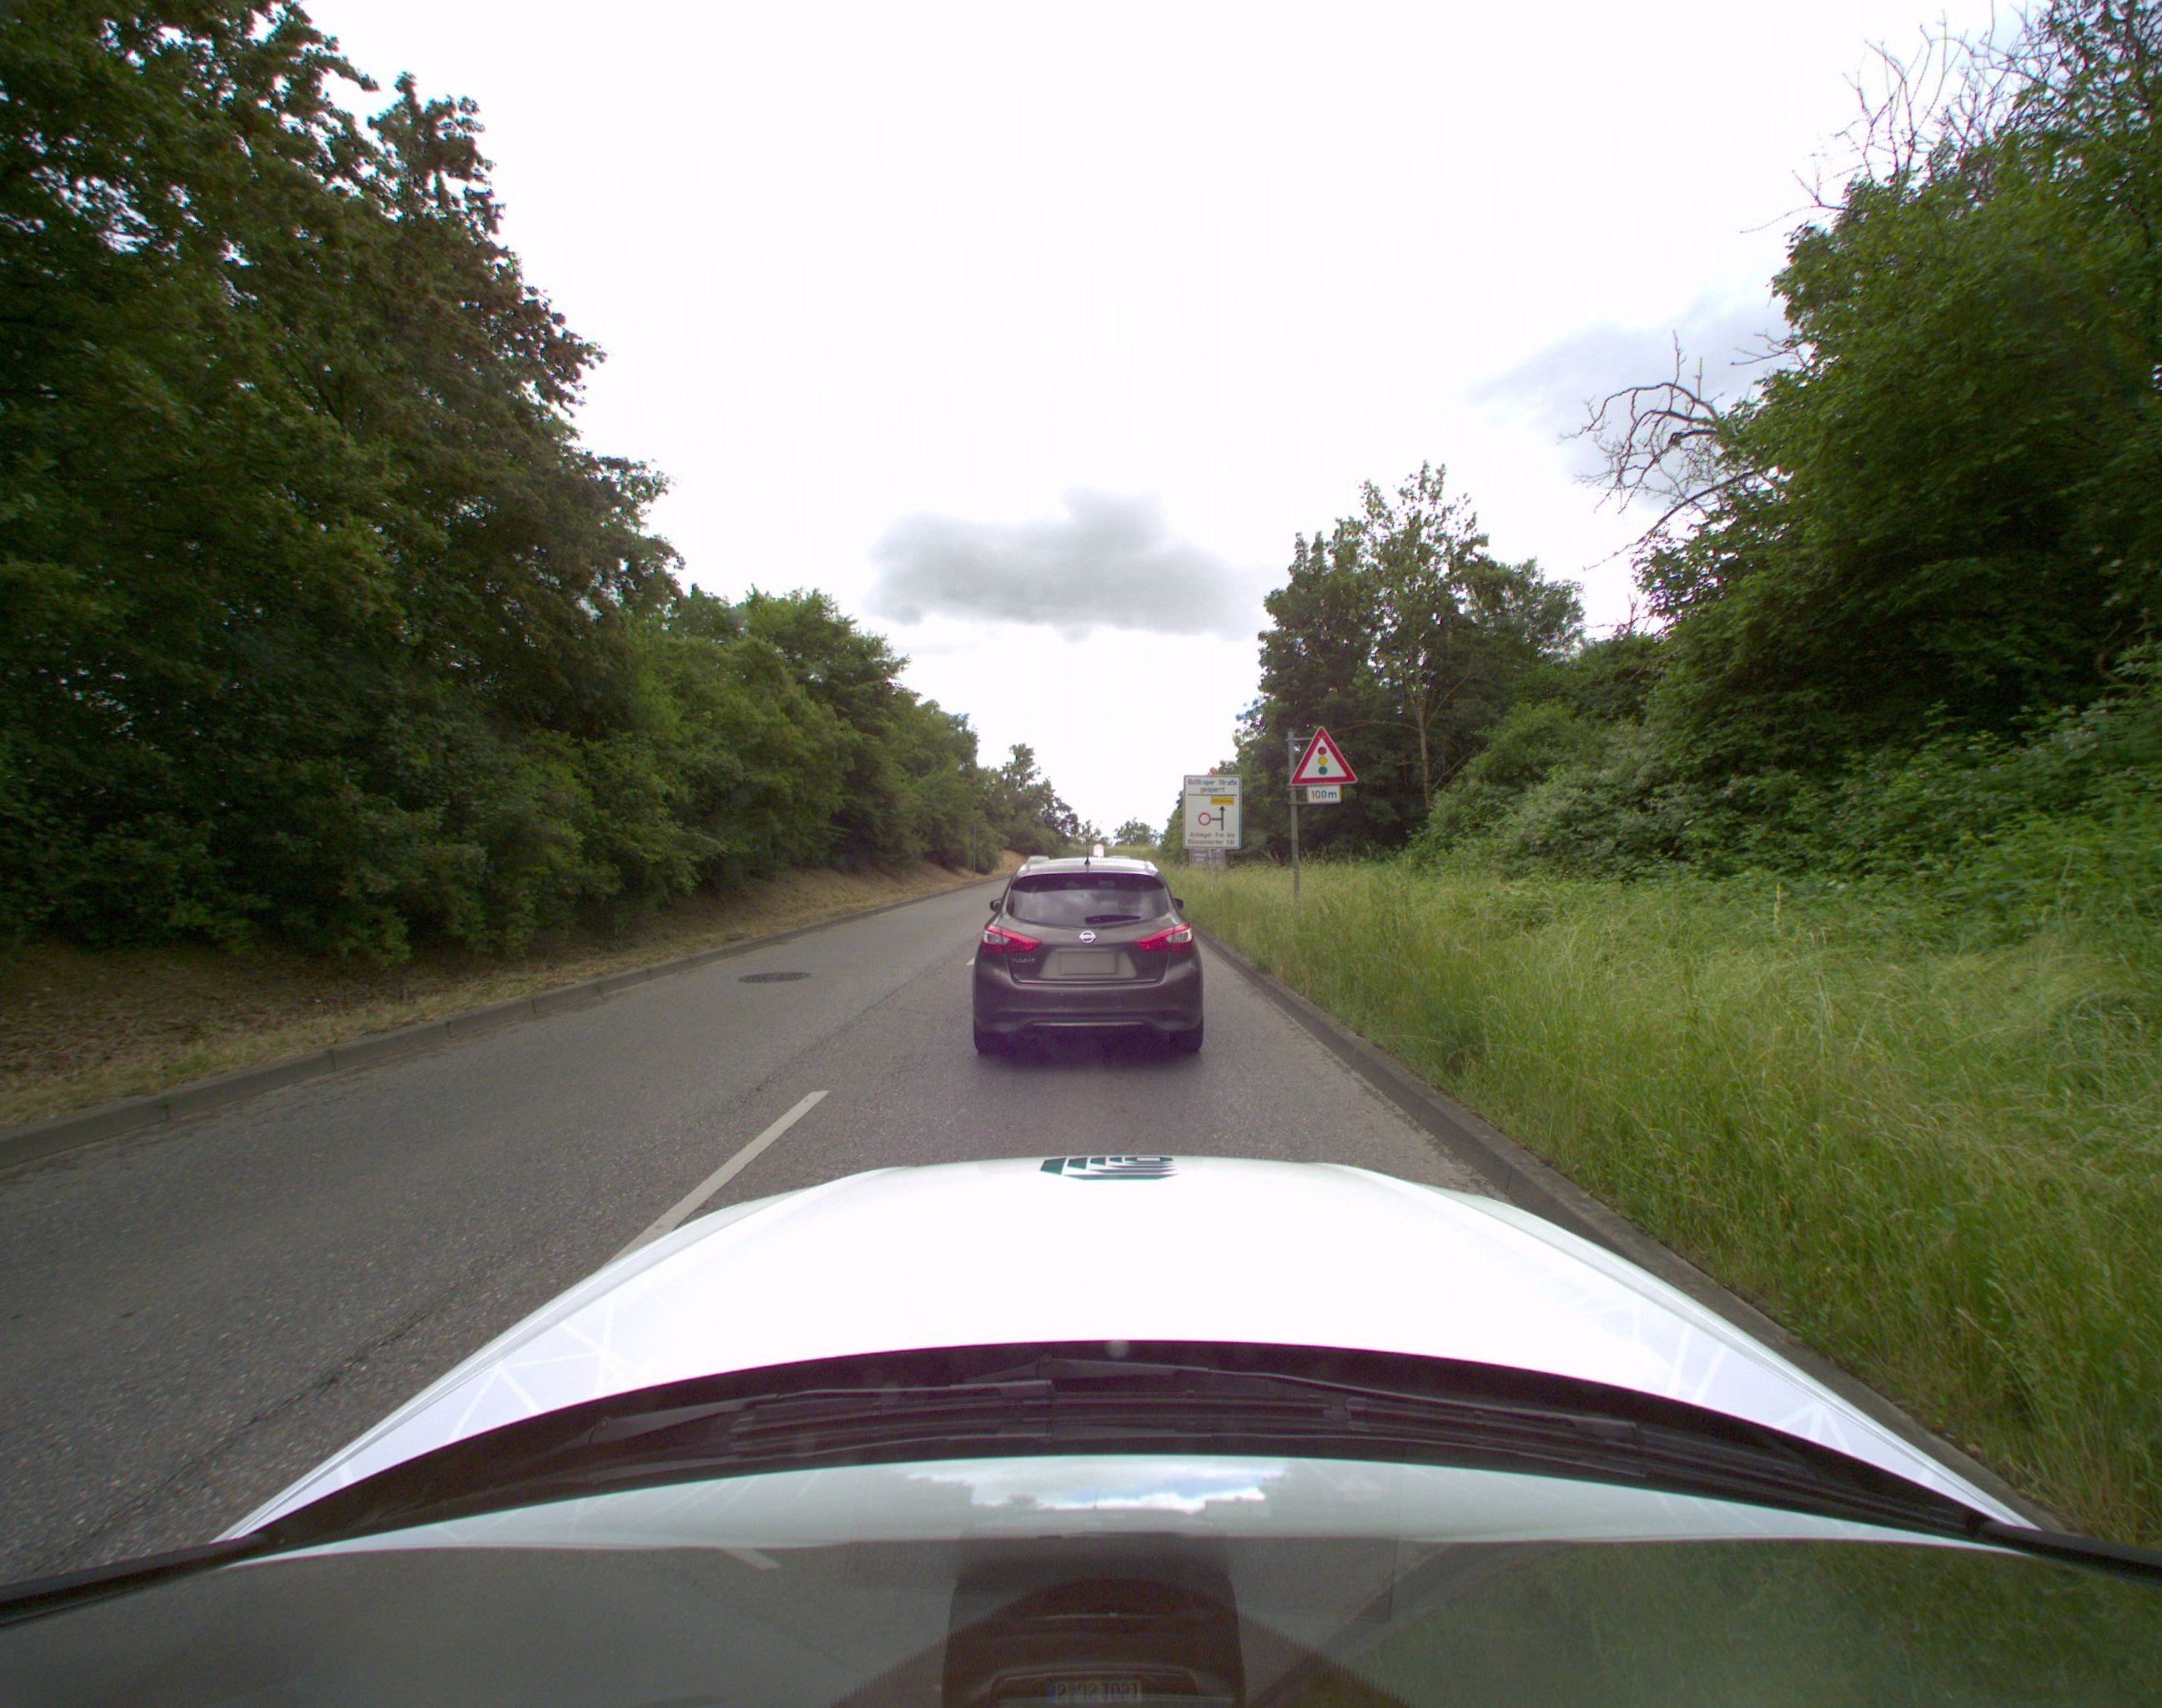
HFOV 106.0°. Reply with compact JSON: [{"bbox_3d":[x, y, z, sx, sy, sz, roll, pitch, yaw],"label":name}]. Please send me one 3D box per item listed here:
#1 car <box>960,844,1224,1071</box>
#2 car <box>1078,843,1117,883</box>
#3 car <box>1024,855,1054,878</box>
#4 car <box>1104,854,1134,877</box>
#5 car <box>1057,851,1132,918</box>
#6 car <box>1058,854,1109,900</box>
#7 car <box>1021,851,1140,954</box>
[{"bbox_3d":[0.090,0.724,7.449,1.824,1.556,3.499,-1,0,0],"label":"car"},{"bbox_3d":[0.917,0.452,42.271,1.728,1.935,3.548,-1,0,5],"label":"car"},{"bbox_3d":[-2.710,0.788,53.166,1.636,1.400,3.823,-1,0,1],"label":"car"},{"bbox_3d":[2.747,0.811,57.906,1.726,1.526,3.551,-2,0,8],"label":"car"},{"bbox_3d":[0.387,0.732,21.107,1.729,1.556,3.545,-1,0,2],"label":"car"},{"bbox_3d":[0.155,0.808,30.108,1.729,1.556,3.545,-1,0,2],"label":"car"},{"bbox_3d":[0.060,0.756,14.491,1.823,1.556,3.626,-1,0,2],"label":"car"}]
